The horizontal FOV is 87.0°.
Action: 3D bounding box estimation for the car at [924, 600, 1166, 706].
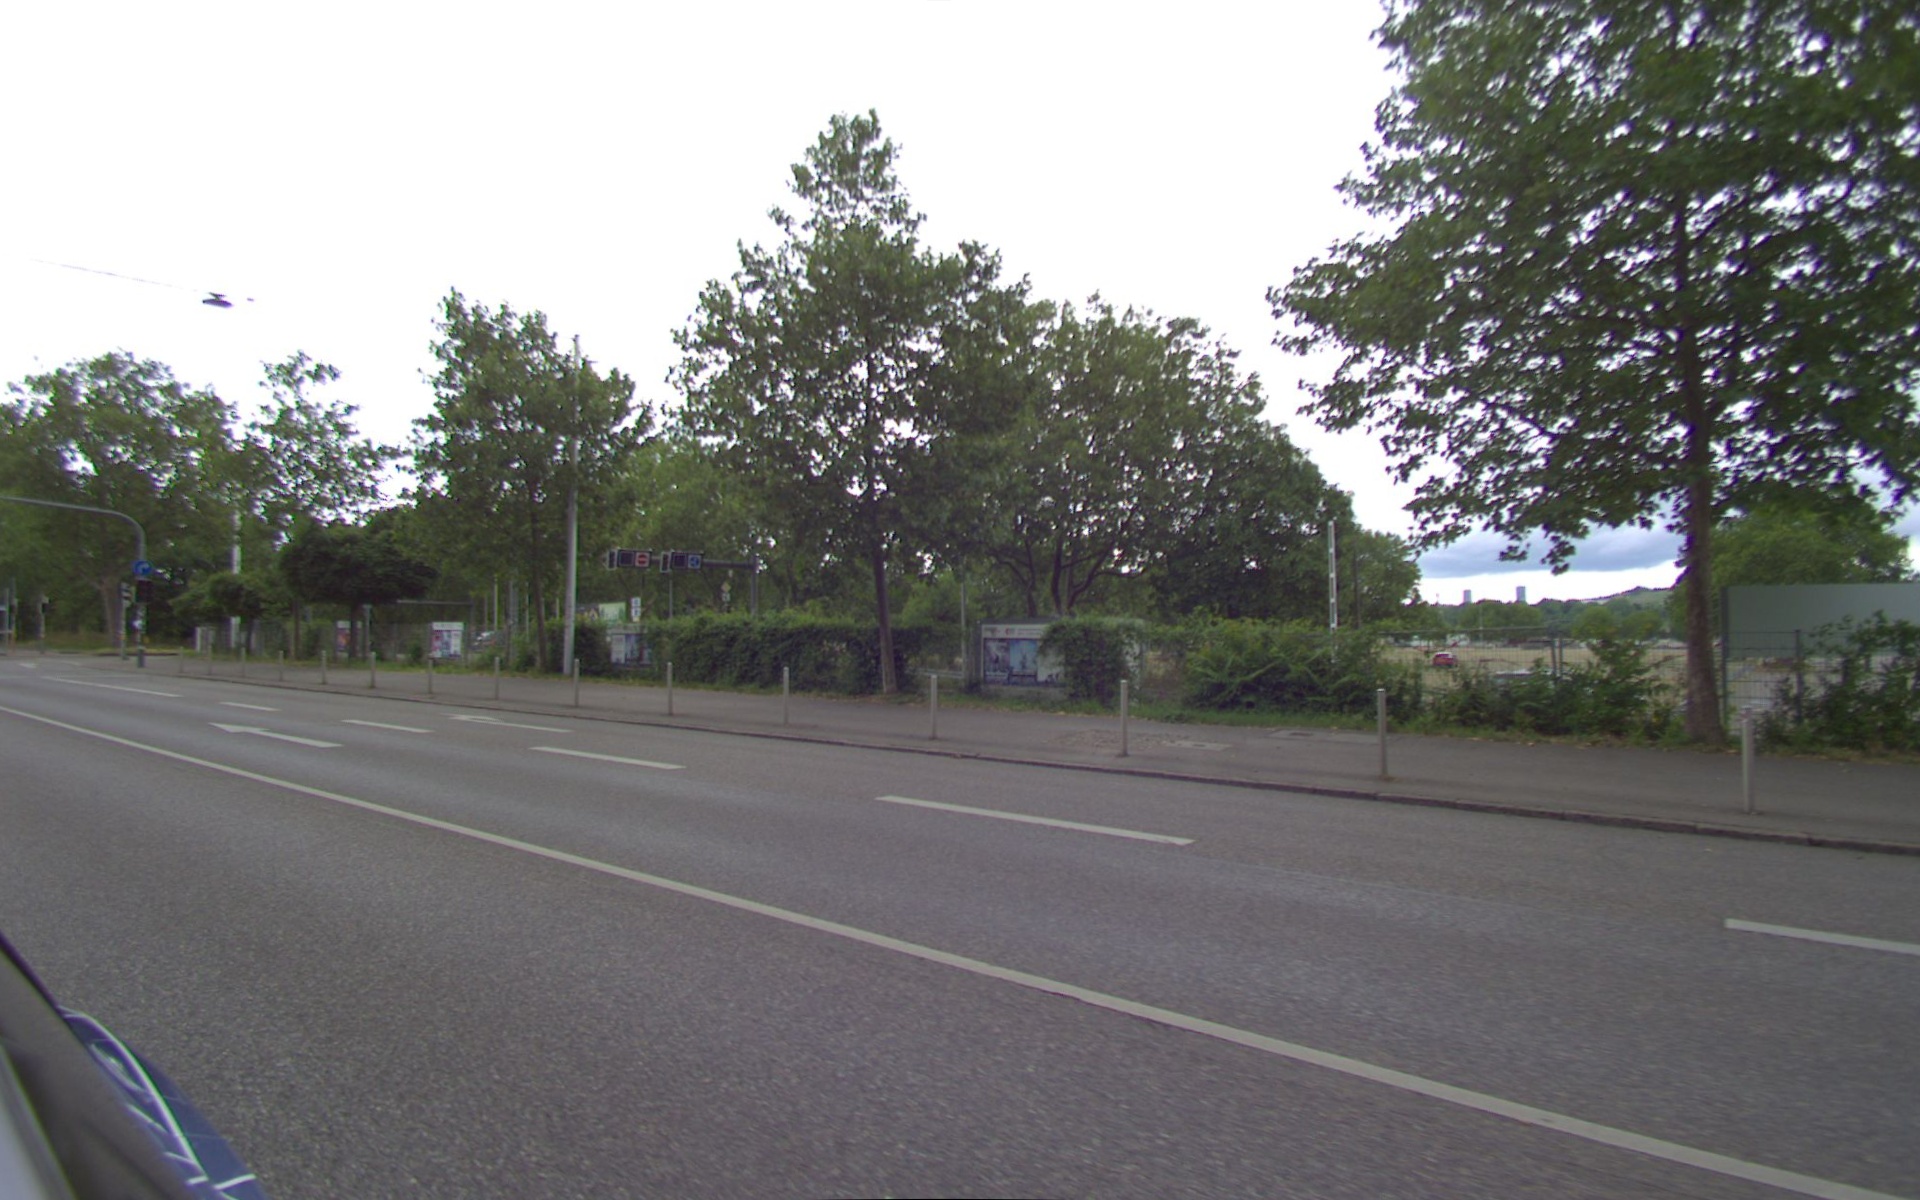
[{"bbox_3d":[1.781,1.079,21.654,4.624,2.029,2.366,-1,-2,34],"label":"car"}]
